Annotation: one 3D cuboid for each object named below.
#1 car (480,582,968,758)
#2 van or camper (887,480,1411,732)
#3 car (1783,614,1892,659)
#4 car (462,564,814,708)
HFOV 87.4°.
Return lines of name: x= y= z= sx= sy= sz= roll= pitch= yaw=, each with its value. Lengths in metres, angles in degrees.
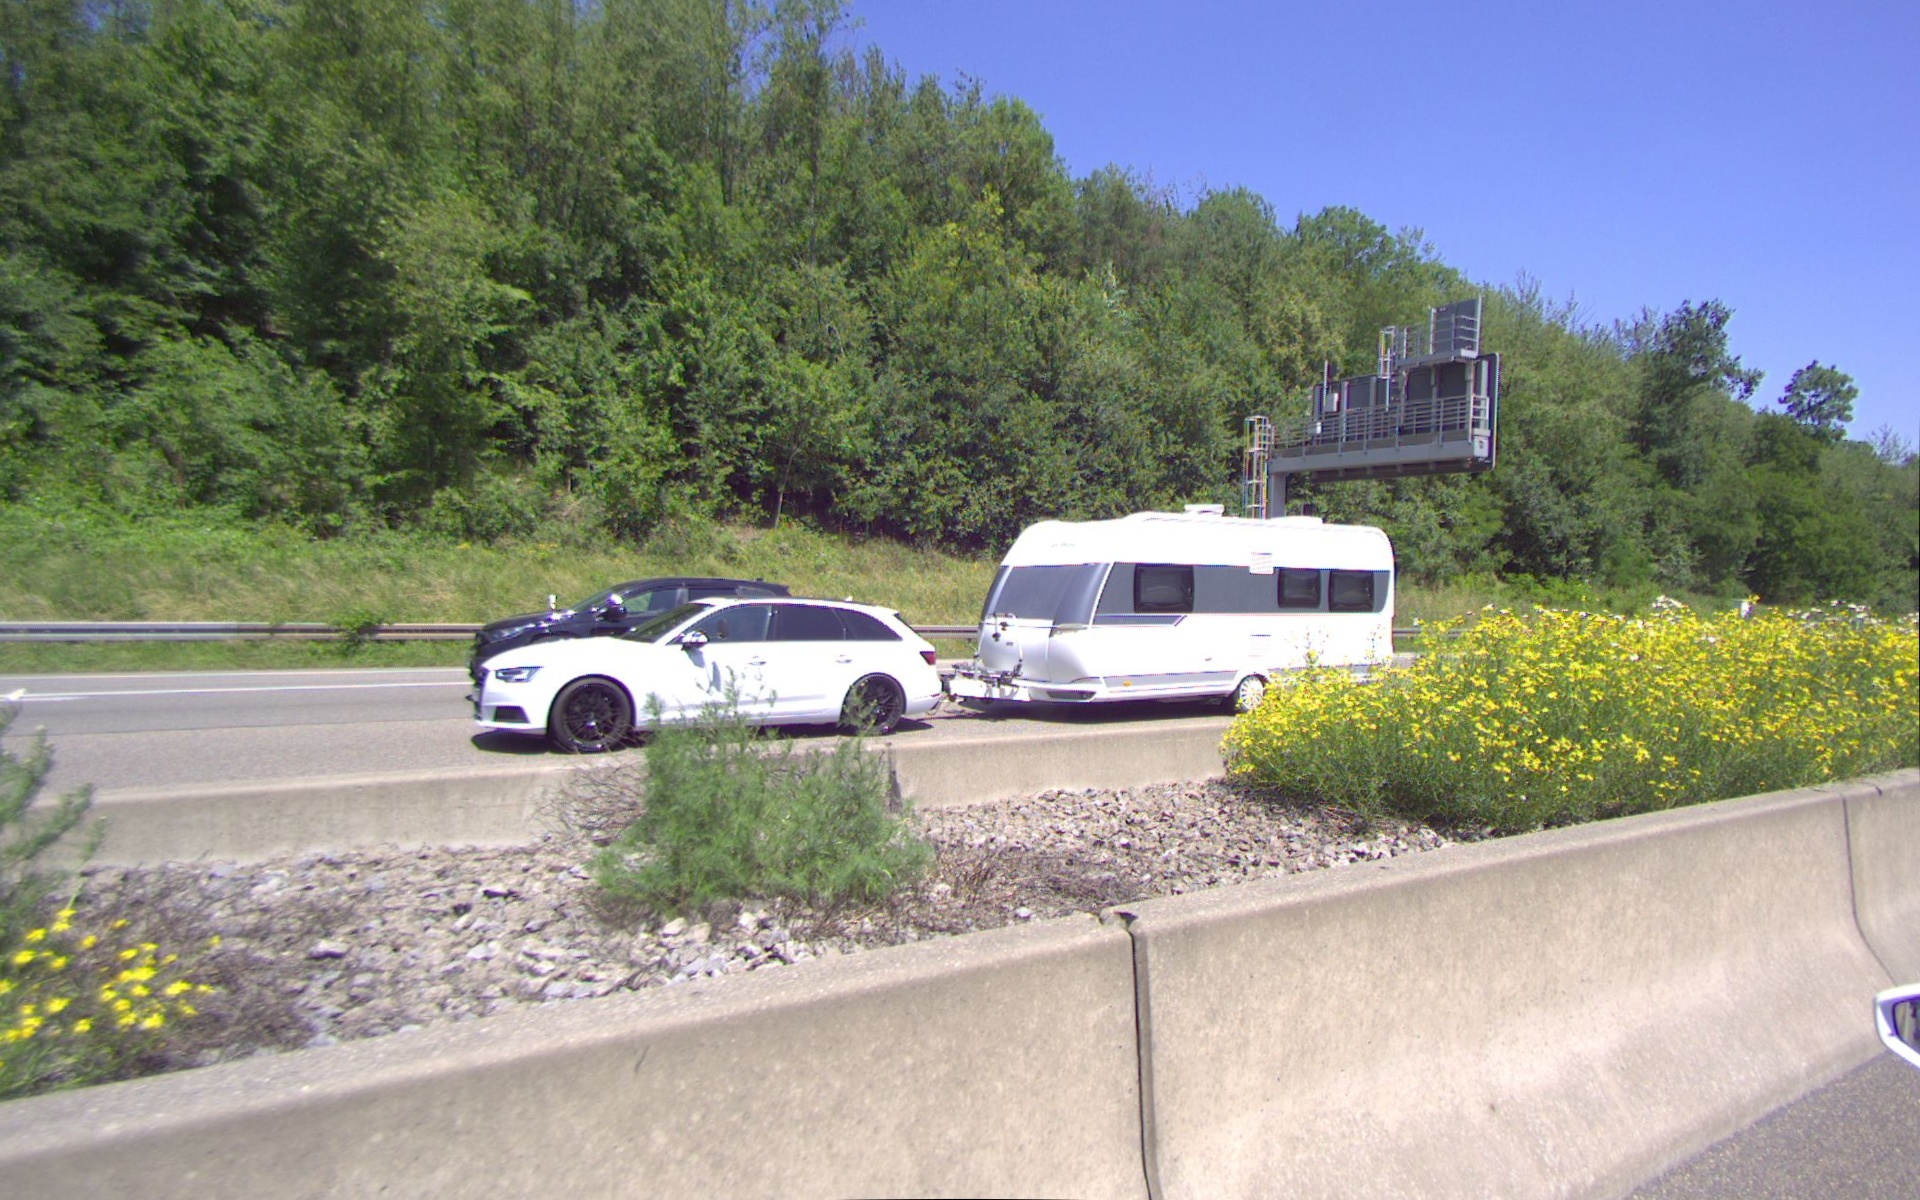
car: x=-2.317 y=0.615 z=10.266 sx=4.555 sy=1.458 sz=1.747 roll=1 pitch=0 yaw=-31
van or camper: x=2.801 y=0.116 z=13.545 sx=7.316 sy=2.671 sz=2.296 roll=1 pitch=0 yaw=-32
car: x=33.270 y=1.373 z=38.082 sx=3.953 sy=1.596 sz=1.984 roll=1 pitch=0 yaw=-31
car: x=-4.390 y=0.459 z=13.880 sx=4.371 sy=1.718 sz=1.747 roll=1 pitch=0 yaw=-30
